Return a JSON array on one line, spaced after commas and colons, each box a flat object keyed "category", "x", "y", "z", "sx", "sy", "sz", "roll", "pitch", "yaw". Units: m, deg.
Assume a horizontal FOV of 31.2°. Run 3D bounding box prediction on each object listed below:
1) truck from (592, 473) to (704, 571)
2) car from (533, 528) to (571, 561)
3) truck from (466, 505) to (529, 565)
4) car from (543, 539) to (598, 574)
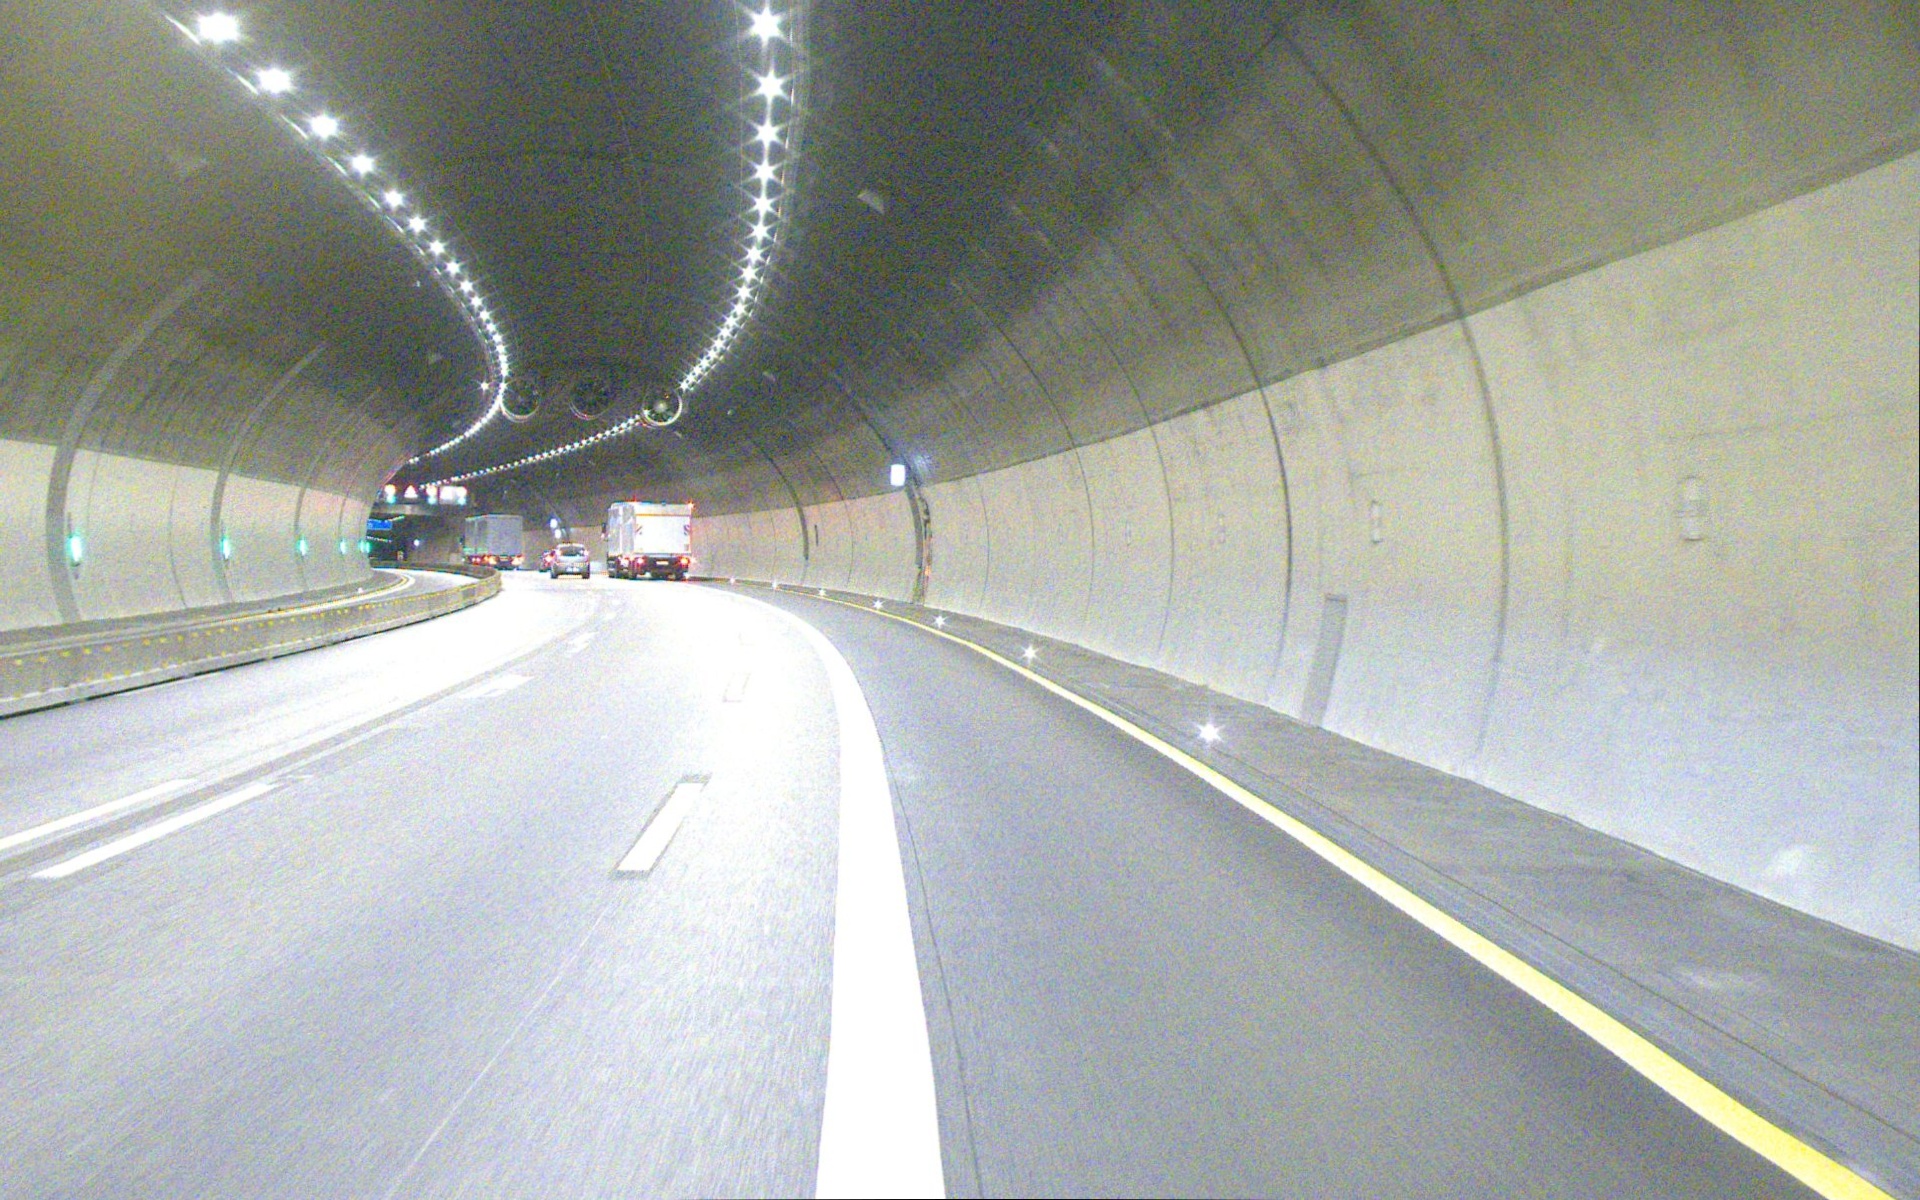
[{"category": "truck", "x": -14.291, "y": -3.537, "z": 156.714, "sx": 3.473, "sy": 4.301, "sz": 10.955, "roll": 0, "pitch": 1, "yaw": -14}, {"category": "car", "x": -25.521, "y": -3.487, "z": 214.944, "sx": 1.993, "sy": 2.007, "sz": 4.001, "roll": 0, "pitch": 1, "yaw": -12}, {"category": "truck", "x": -34.197, "y": -4.760, "z": 254.048, "sx": 3.473, "sy": 4.301, "sz": 10.955, "roll": -1, "pitch": 1, "yaw": -14}, {"category": "car", "x": -18.130, "y": -2.039, "z": 159.860, "sx": 1.993, "sy": 1.576, "sz": 4.001, "roll": 1, "pitch": 1, "yaw": -14}]
